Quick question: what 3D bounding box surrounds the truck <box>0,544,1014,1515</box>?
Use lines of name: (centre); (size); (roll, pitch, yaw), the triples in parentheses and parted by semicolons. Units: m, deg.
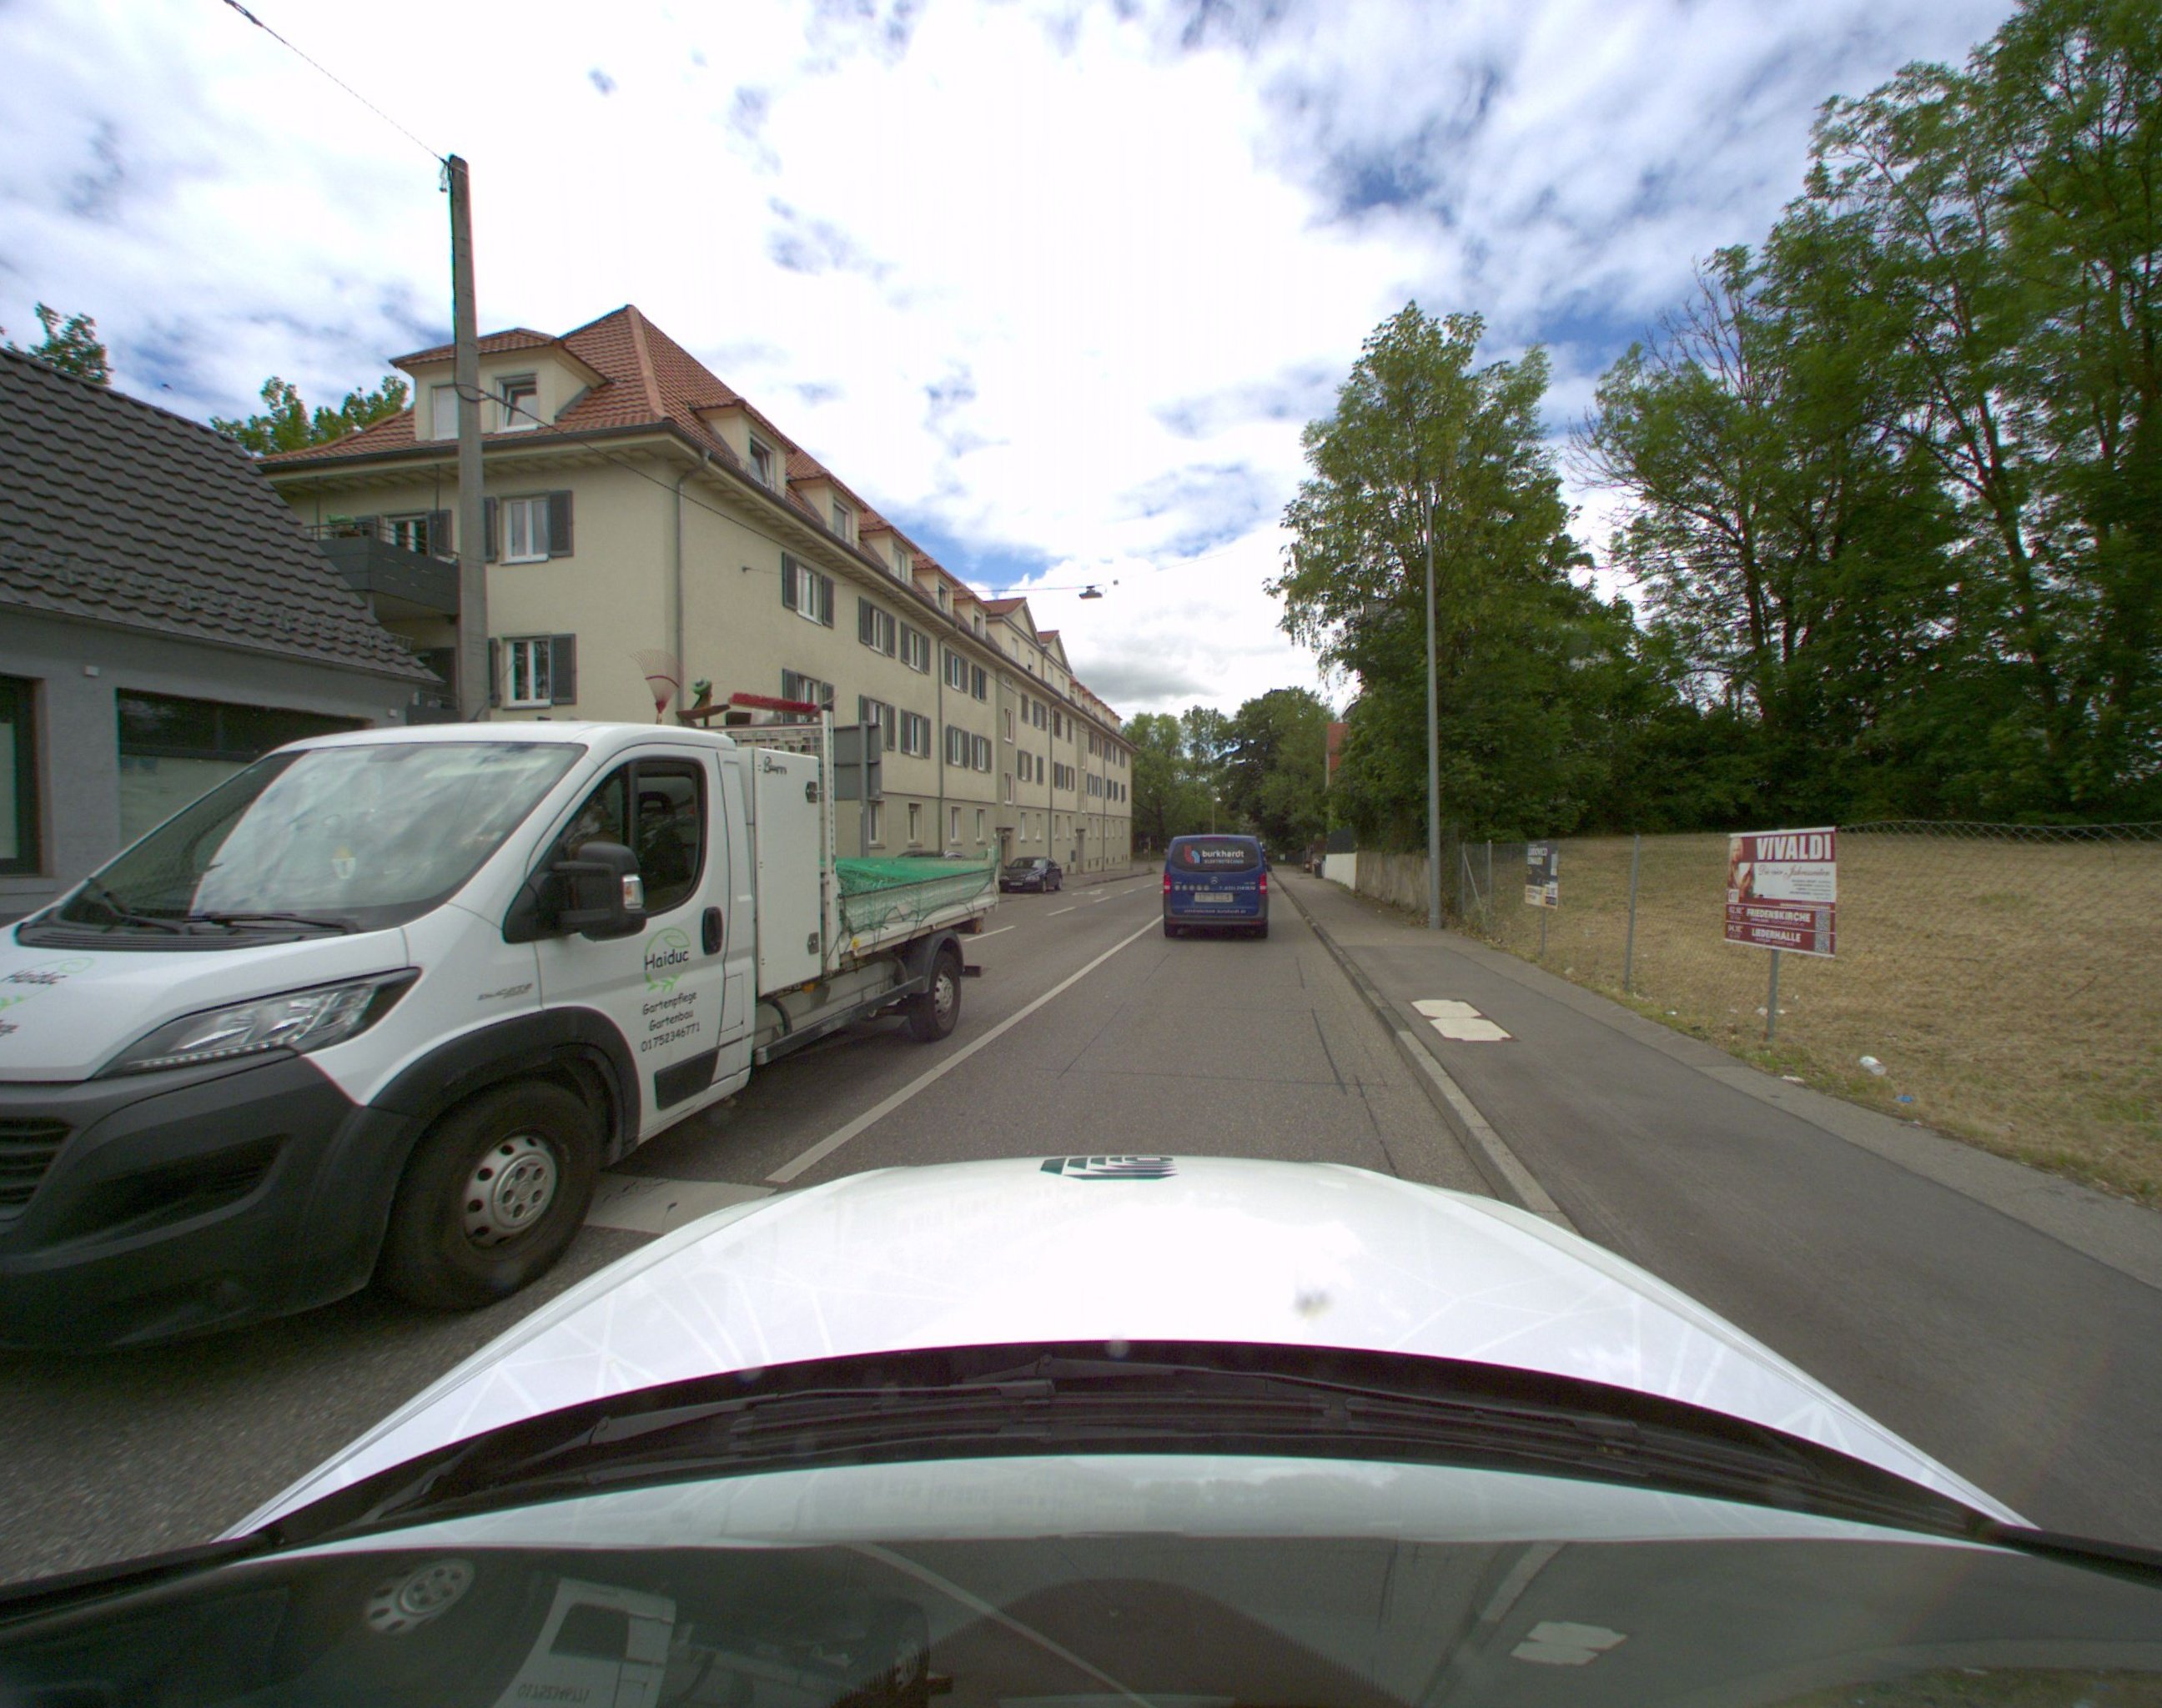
truck: (-2.447, 0.365, 5.286); (2.106, 2.201, 6.612); (1, 0, 12)

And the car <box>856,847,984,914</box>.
car: (-4.280, 0.640, 22.456); (1.810, 1.633, 4.710); (1, 0, 10)

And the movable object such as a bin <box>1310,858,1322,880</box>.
movable object such as a bin: (12.932, 0.808, 44.893); (0.524, 1.178, 0.636); (-4, -1, 11)

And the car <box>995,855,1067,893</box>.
car: (-1.939, 0.763, 32.896); (1.699, 1.403, 4.861); (0, 0, 11)

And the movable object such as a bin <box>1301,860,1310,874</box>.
movable object such as a bin: (15.160, 0.878, 55.034); (0.458, 0.924, 0.568); (-4, -1, 11)

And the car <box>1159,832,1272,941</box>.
car: (2.640, 0.540, 15.954); (1.902, 1.837, 4.305); (0, 0, 10)
